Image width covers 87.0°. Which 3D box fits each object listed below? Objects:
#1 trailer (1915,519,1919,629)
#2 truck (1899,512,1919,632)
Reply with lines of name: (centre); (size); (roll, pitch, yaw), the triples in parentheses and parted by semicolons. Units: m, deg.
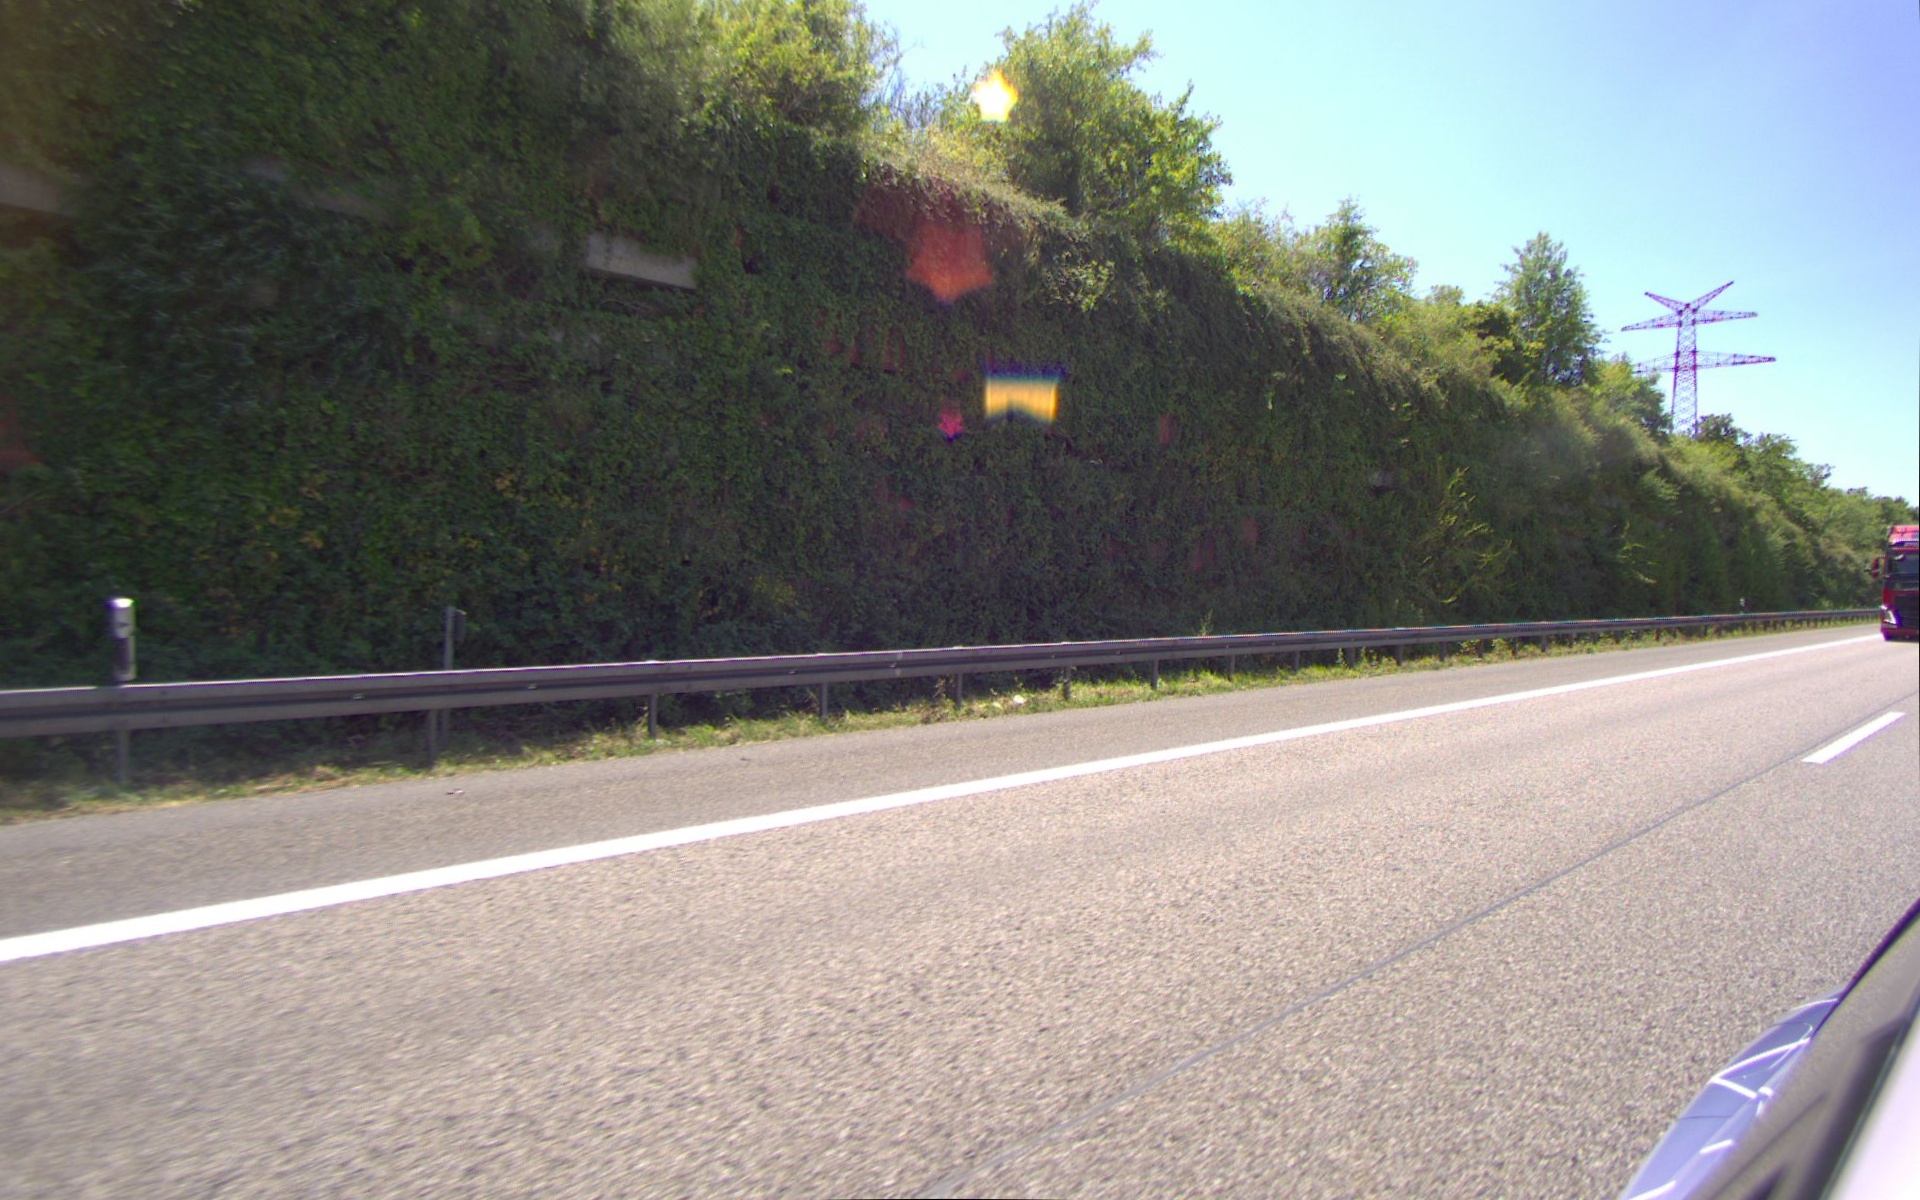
trailer: (40.707, -0.959, 40.488); (14.000, 3.959, 2.494); (0, 0, -42)
truck: (34.709, -0.936, 35.118); (6.974, 3.969, 2.503); (0, 0, -42)
